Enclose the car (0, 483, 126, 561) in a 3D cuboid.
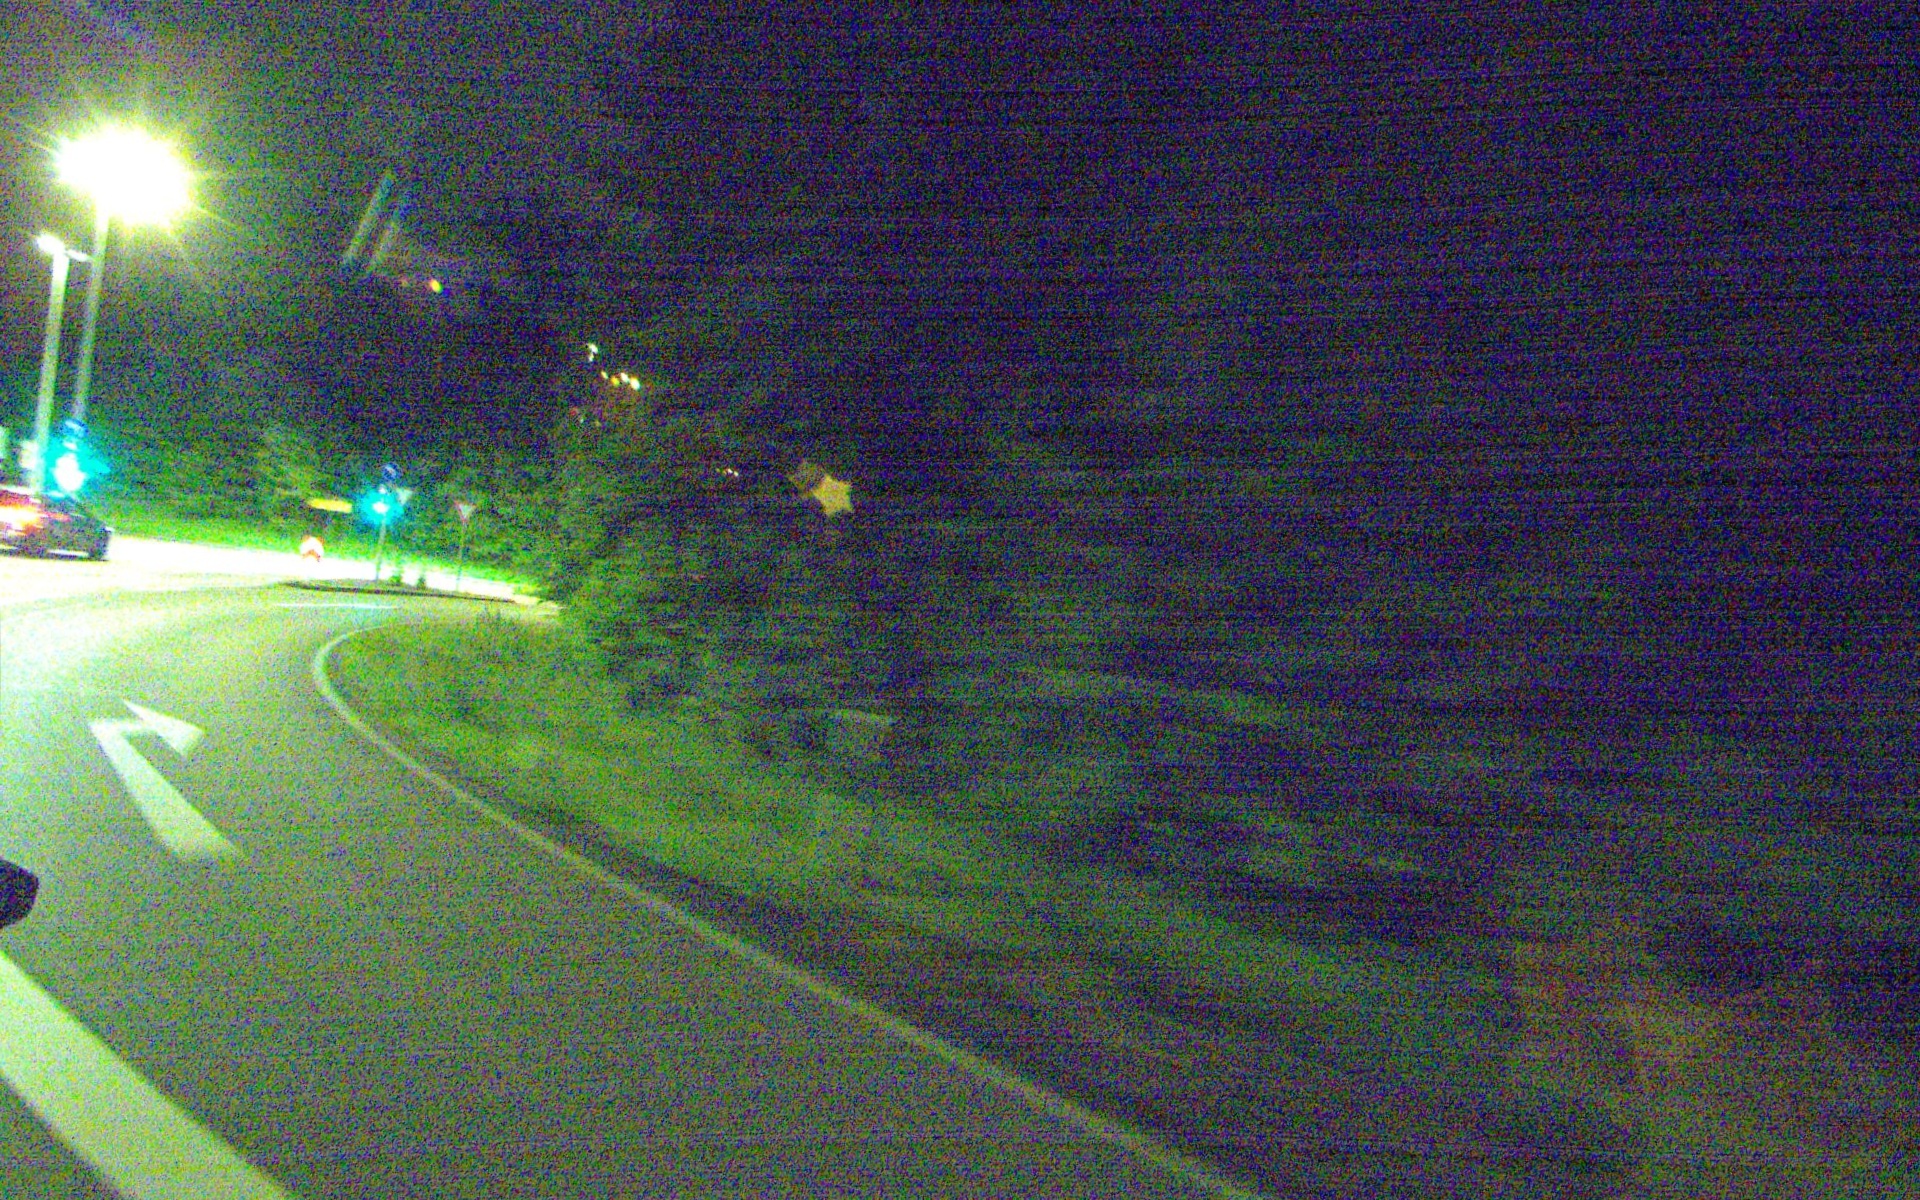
[{"bbox_3d":[-22.877,-1.959,24.842,1.830,1.600,3.995,9,-1,-15],"label":"car"}]
